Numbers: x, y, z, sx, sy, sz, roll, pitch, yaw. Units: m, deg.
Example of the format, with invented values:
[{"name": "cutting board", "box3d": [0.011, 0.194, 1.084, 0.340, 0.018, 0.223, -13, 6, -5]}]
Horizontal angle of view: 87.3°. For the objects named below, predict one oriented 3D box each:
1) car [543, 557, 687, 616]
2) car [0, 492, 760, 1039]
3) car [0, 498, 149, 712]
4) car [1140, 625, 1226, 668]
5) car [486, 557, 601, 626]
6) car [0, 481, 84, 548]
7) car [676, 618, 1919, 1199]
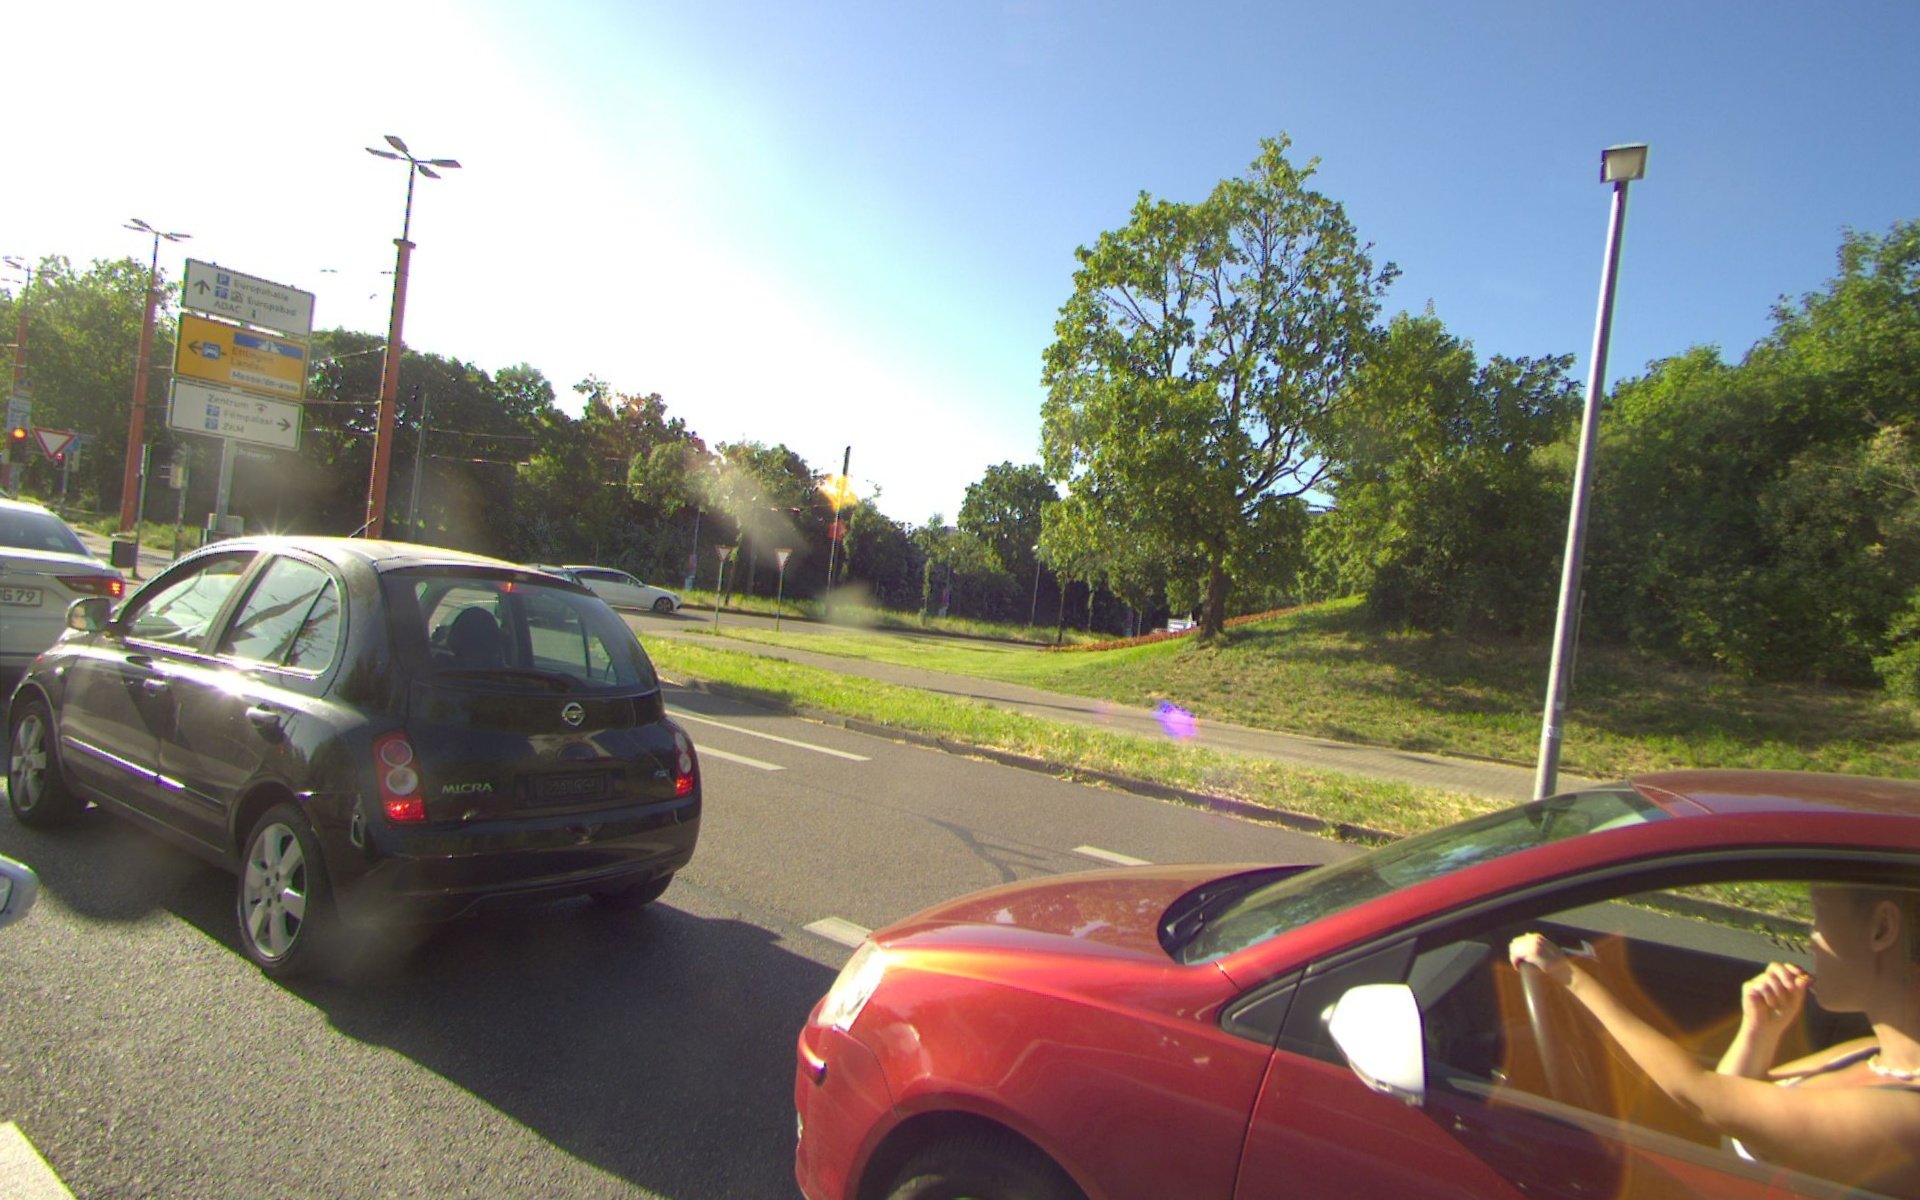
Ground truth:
[{"name": "car", "box3d": [-13.263, -0.498, 38.727, 4.876, 1.594, 1.985, 8, -1, -30]}, {"name": "car", "box3d": [-2.816, 0.466, 4.619, 3.457, 1.524, 1.558, 7, 0, 32]}, {"name": "car", "box3d": [-8.341, -0.161, 7.972, 4.077, 1.472, 1.717, 7, -1, 33]}, {"name": "car", "box3d": [12.034, 2.526, 54.210, 4.312, 1.753, 1.828, 8, -1, -31]}, {"name": "car", "box3d": [-11.025, -0.204, 26.932, 1.721, 1.486, 3.888, 7, -1, -7]}, {"name": "car", "box3d": [-31.201, -2.932, 31.905, 4.746, 1.858, 1.899, 8, -1, -31]}, {"name": "car", "box3d": [1.376, 0.992, 1.888, 3.634, 1.434, 1.624, 7, -1, 34]}]
